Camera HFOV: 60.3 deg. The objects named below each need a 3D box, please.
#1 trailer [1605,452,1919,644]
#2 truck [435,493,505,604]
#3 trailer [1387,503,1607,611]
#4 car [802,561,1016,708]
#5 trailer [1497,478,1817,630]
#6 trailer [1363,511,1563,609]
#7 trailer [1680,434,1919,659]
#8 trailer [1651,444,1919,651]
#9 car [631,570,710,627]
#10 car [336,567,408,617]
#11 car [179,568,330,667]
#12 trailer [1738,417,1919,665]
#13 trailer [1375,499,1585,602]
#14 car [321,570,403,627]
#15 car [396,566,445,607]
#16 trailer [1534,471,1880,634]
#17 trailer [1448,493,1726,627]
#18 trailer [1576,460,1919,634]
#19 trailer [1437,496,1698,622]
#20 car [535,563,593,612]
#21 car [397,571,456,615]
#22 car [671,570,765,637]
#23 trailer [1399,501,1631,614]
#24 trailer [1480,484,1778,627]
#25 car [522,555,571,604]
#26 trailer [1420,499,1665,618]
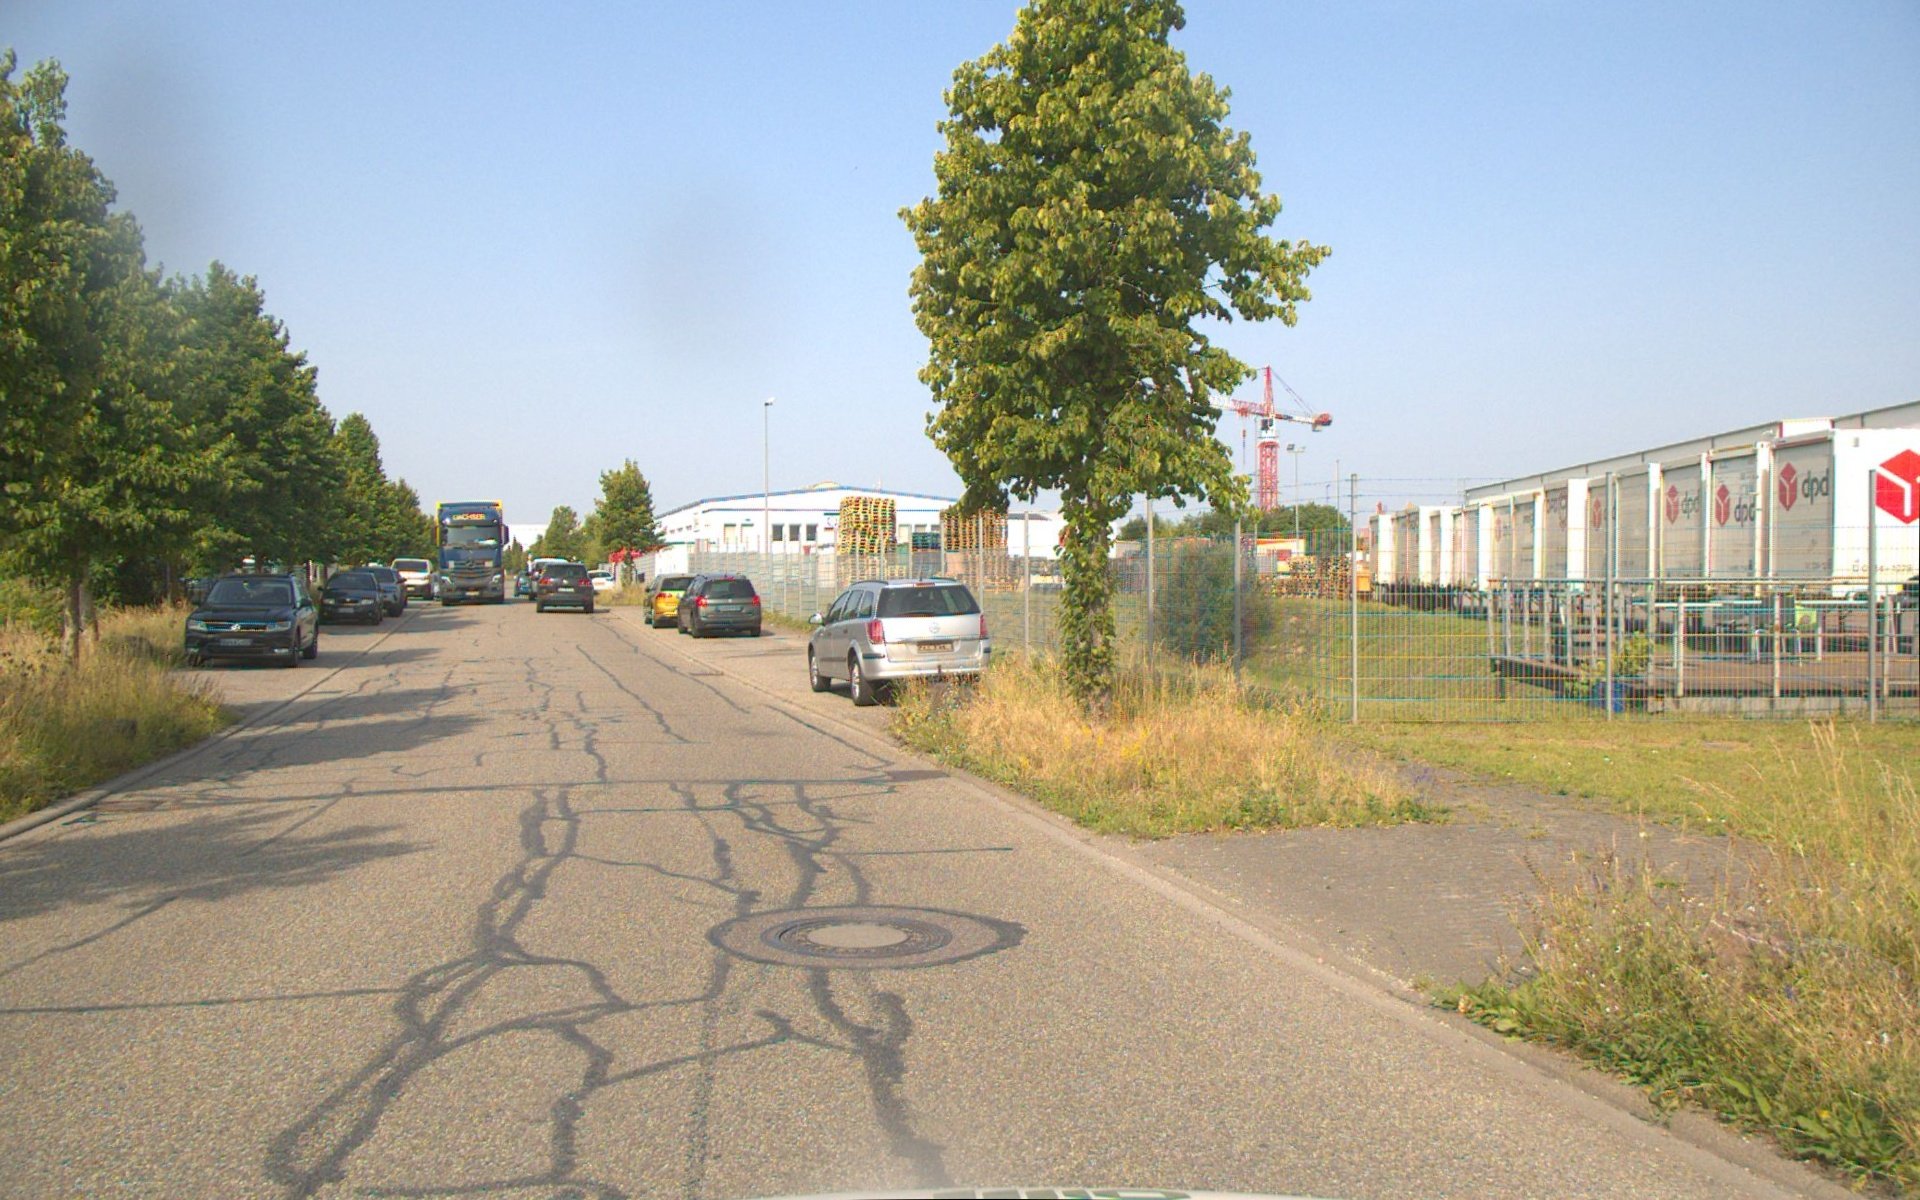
[{"bbox_3d":[19.151,-1.133,37.113,8.134,3.961,2.777,2,2,3],"label":"trailer"},{"bbox_3d":[-20.301,-2.084,68.885,2.458,4.217,10.335,-2,2,-16],"label":"truck"},{"bbox_3d":[21.307,-1.715,65.974,7.796,3.961,2.777,2,2,3],"label":"trailer"},{"bbox_3d":[-0.789,0.357,21.726,1.770,1.654,4.431,-2,2,-16],"label":"car"},{"bbox_3d":[19.670,-1.319,47.064,7.796,3.961,2.777,2,2,3],"label":"trailer"},{"bbox_3d":[21.834,-1.761,72.066,7.796,3.961,2.744,2,2,3],"label":"trailer"},{"bbox_3d":[18.401,-0.929,31.075,8.357,3.961,2.777,2,2,3],"label":"trailer"},{"bbox_3d":[18.941,-1.017,34.057,8.134,3.961,2.777,2,2,3],"label":"trailer"},{"bbox_3d":[-8.154,-0.083,46.393,1.687,1.480,4.169,-2,2,-16],"label":"car"},{"bbox_3d":[-18.898,-0.288,53.302,1.802,1.522,4.034,1,1,-14],"label":"car"},{"bbox_3d":[-12.856,0.263,30.391,1.871,1.654,4.432,1,1,-14],"label":"car"},{"bbox_3d":[18.103,-0.895,27.997,8.357,3.961,2.777,2,2,3],"label":"trailer"},{"bbox_3d":[21.588,-2.063,69.035,7.796,3.961,2.744,2,2,3],"label":"trailer"},{"bbox_3d":[-17.125,-0.077,47.506,1.802,1.522,4.034,1,1,-14],"label":"car"},{"bbox_3d":[-24.791,-0.648,76.097,1.802,1.793,4.034,1,1,-14],"label":"car"},{"bbox_3d":[19.707,-1.274,44.037,7.796,3.961,2.777,2,2,3],"label":"trailer"},{"bbox_3d":[20.064,-1.307,53.306,7.796,3.961,2.777,2,2,3],"label":"trailer"},{"bbox_3d":[19.810,-1.314,41.040,7.865,3.961,2.777,2,2,3],"label":"trailer"},{"bbox_3d":[20.660,-1.431,56.570,7.796,3.961,2.777,2,2,3],"label":"trailer"},{"bbox_3d":[-13.506,-0.439,56.548,1.848,1.614,4.100,0,1,-13],"label":"car"},{"bbox_3d":[-19.758,-0.273,61.414,1.802,1.522,4.034,1,1,-14],"label":"car"},{"bbox_3d":[-6.078,0.044,41.303,1.688,1.541,3.985,-2,2,-17],"label":"car"},{"bbox_3d":[21.042,-1.620,63.046,7.796,3.961,2.777,2,2,3],"label":"trailer"},{"bbox_3d":[20.185,-1.373,50.252,7.796,3.961,2.777,2,2,3],"label":"trailer"},{"bbox_3d":[-18.952,-0.939,75.853,2.085,2.147,4.608,0,1,-14],"label":"car"},{"bbox_3d":[21.000,-1.513,59.971,7.796,3.961,2.777,2,2,3],"label":"trailer"}]
